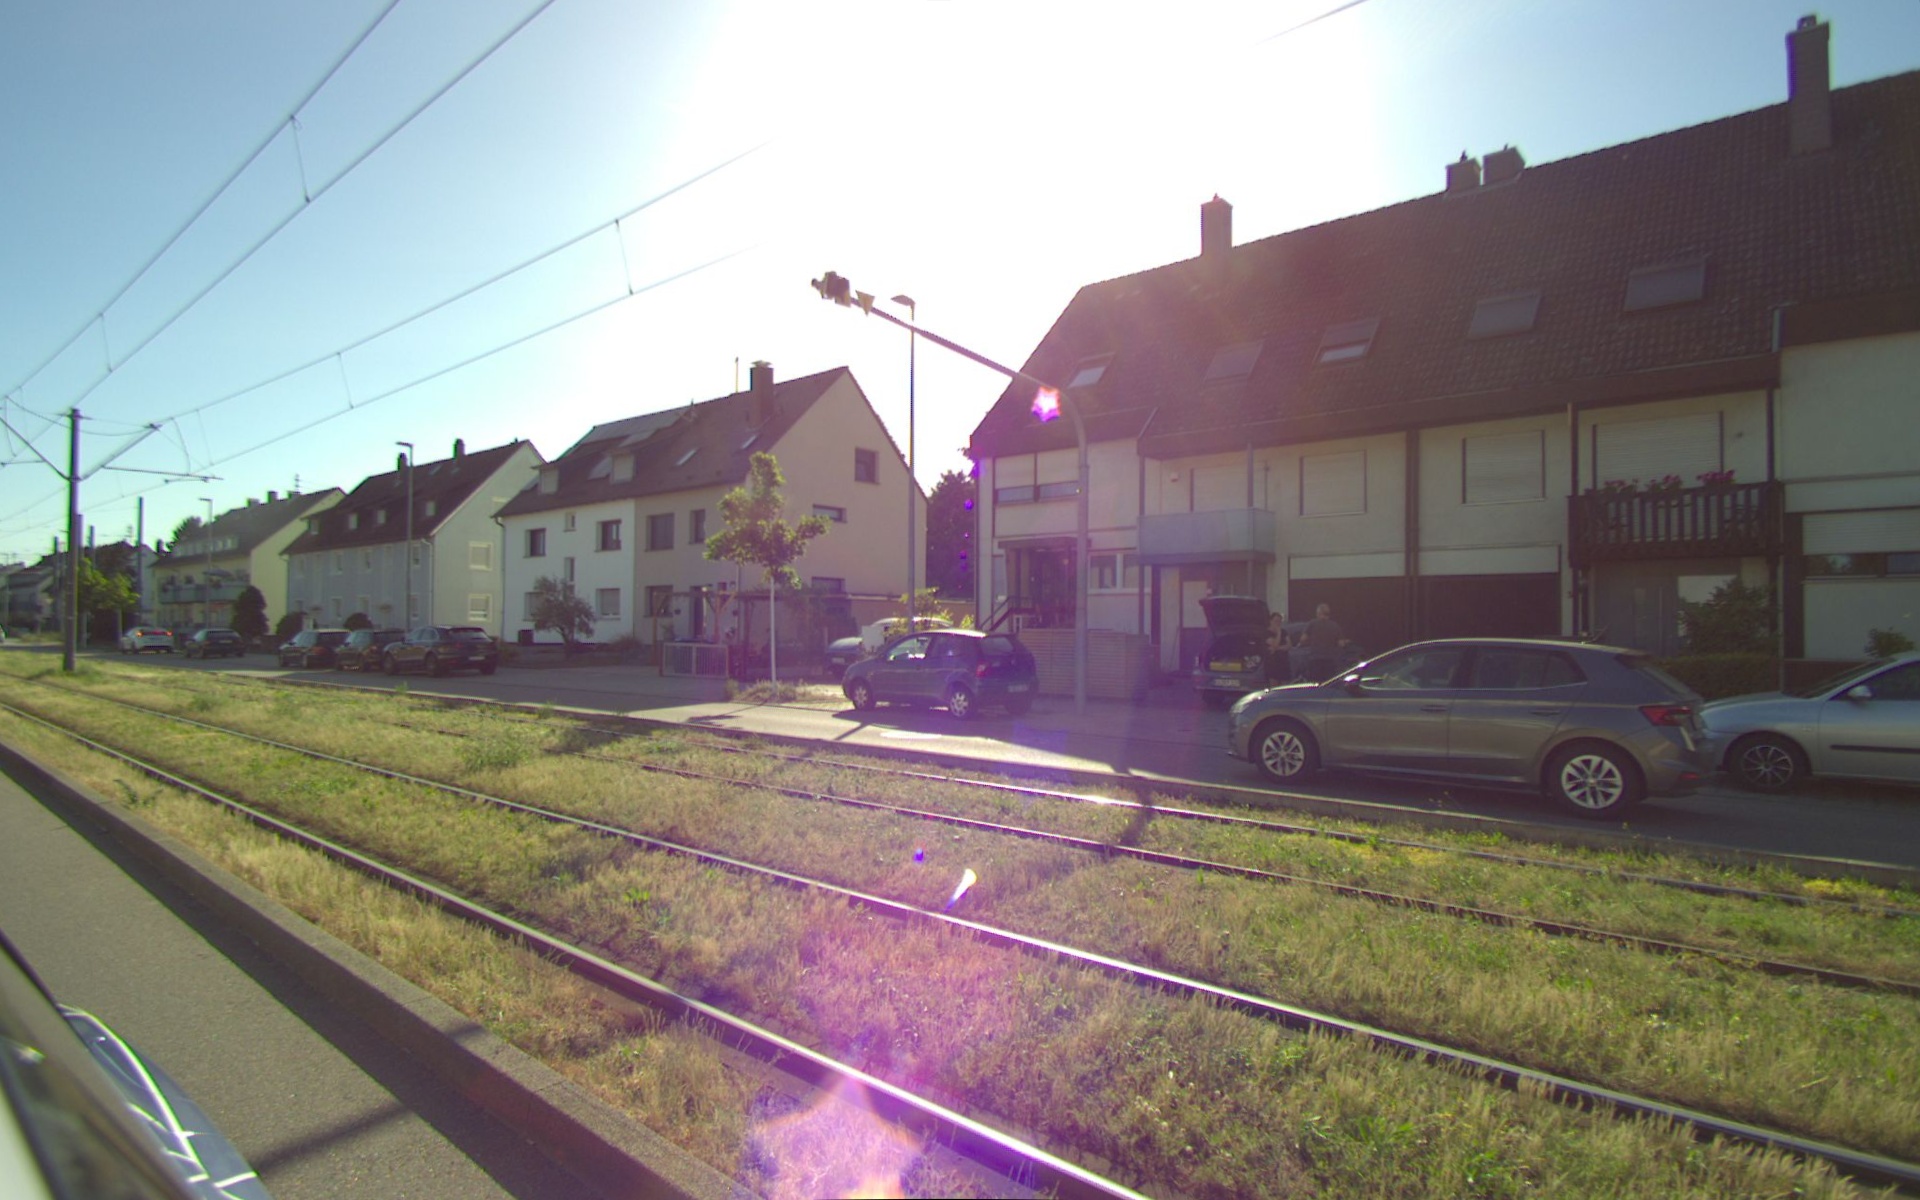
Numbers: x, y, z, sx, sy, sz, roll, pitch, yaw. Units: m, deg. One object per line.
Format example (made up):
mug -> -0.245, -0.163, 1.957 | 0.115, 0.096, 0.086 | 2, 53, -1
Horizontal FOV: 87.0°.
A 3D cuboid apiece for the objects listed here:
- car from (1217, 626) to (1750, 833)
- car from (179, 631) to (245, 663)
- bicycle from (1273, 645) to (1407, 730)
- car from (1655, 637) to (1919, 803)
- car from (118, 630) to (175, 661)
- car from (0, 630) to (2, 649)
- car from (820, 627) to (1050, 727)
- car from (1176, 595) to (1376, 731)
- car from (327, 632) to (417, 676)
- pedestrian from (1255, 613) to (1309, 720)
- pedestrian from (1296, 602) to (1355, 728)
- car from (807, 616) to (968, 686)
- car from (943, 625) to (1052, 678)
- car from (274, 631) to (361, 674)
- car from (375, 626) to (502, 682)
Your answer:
car -> 4.639, 1.026, 9.331 | 4.081, 1.487, 1.671 | -1, -5, 41
car -> -35.717, 2.228, 48.294 | 4.091, 1.408, 1.682 | -1, -1, 41
bicycle -> 5.732, 1.292, 15.355 | 0.471, 1.172, 1.873 | 0, -1, -42
car -> 9.095, 1.080, 9.472 | 4.101, 1.447, 1.640 | -2, -2, 41
car -> -44.902, 2.482, 55.835 | 4.091, 1.542, 1.808 | -1, -1, 41
car -> -78.633, 3.176, 81.585 | 4.091, 1.475, 1.682 | -1, -1, 41
car -> -0.537, 1.267, 17.776 | 4.085, 1.523, 1.601 | -2, -2, 43
car -> 5.926, 1.026, 18.664 | 1.787, 2.096, 4.413 | -1, 1, 42
car -> -20.550, 1.871, 35.290 | 3.996, 1.479, 1.450 | -2, -3, 40
pedestrian -> 5.266, 1.072, 16.553 | 0.544, 1.701, 0.625 | 0, -1, -33
pedestrian -> 5.460, 0.942, 15.114 | 0.677, 1.829, 0.610 | -1, -1, 33
car -> -1.950, 1.381, 28.250 | 1.969, 1.797, 4.346 | -2, -3, 41
car -> 1.257, 1.624, 32.607 | 1.508, 1.605, 3.796 | -2, -2, 40
car -> -24.545, 1.962, 38.600 | 4.398, 1.466, 1.636 | -1, -1, 41
car -> -16.510, 1.640, 31.920 | 4.856, 1.572, 1.901 | -1, -1, 41
